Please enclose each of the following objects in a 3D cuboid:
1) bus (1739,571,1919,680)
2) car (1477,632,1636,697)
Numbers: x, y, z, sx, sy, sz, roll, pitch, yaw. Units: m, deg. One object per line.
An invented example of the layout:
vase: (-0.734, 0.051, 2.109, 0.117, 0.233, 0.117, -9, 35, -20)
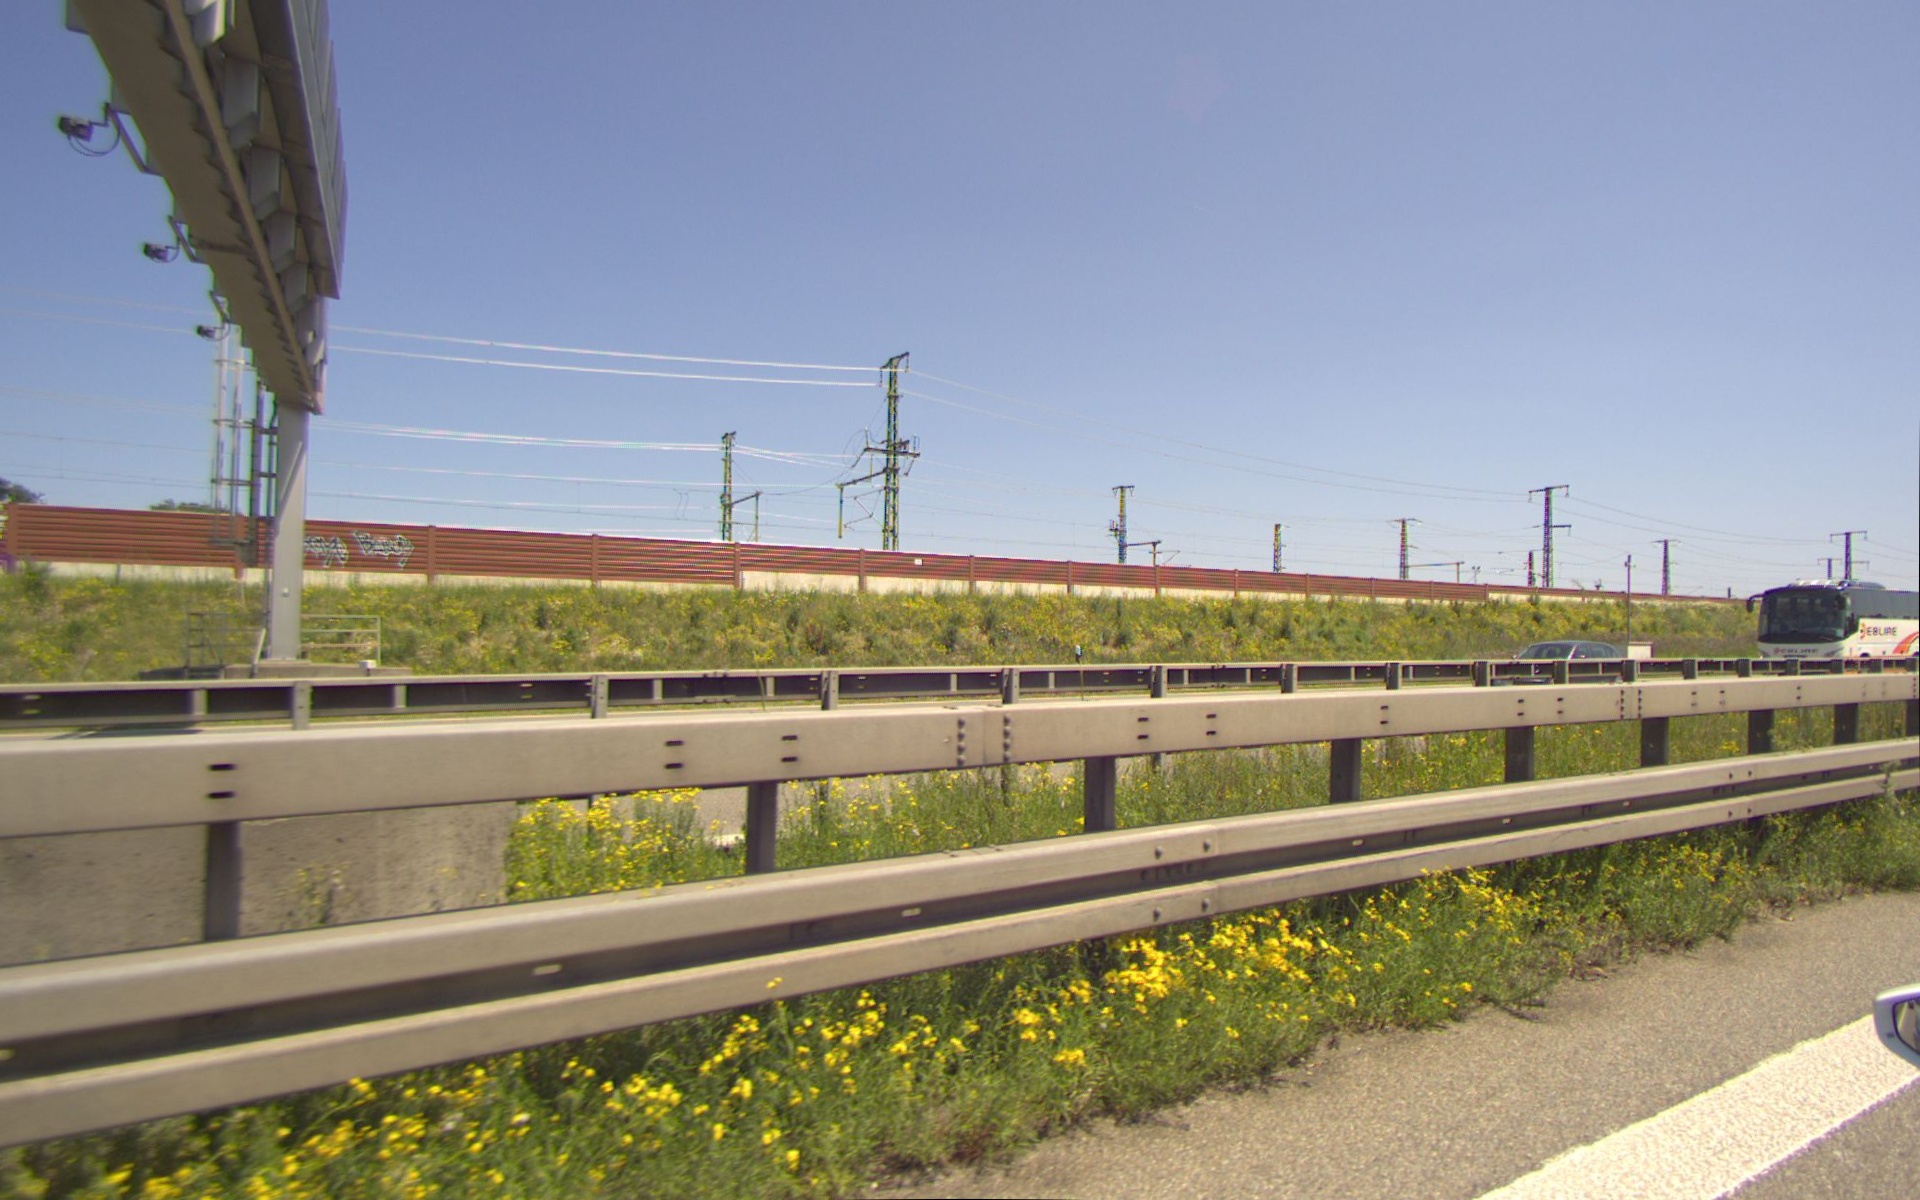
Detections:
bus: (33.821, 0.952, 38.140, 10.813, 3.694, 2.842, 1, 1, -31)
car: (14.828, 1.577, 24.948, 3.953, 1.493, 1.684, 1, -3, -30)
